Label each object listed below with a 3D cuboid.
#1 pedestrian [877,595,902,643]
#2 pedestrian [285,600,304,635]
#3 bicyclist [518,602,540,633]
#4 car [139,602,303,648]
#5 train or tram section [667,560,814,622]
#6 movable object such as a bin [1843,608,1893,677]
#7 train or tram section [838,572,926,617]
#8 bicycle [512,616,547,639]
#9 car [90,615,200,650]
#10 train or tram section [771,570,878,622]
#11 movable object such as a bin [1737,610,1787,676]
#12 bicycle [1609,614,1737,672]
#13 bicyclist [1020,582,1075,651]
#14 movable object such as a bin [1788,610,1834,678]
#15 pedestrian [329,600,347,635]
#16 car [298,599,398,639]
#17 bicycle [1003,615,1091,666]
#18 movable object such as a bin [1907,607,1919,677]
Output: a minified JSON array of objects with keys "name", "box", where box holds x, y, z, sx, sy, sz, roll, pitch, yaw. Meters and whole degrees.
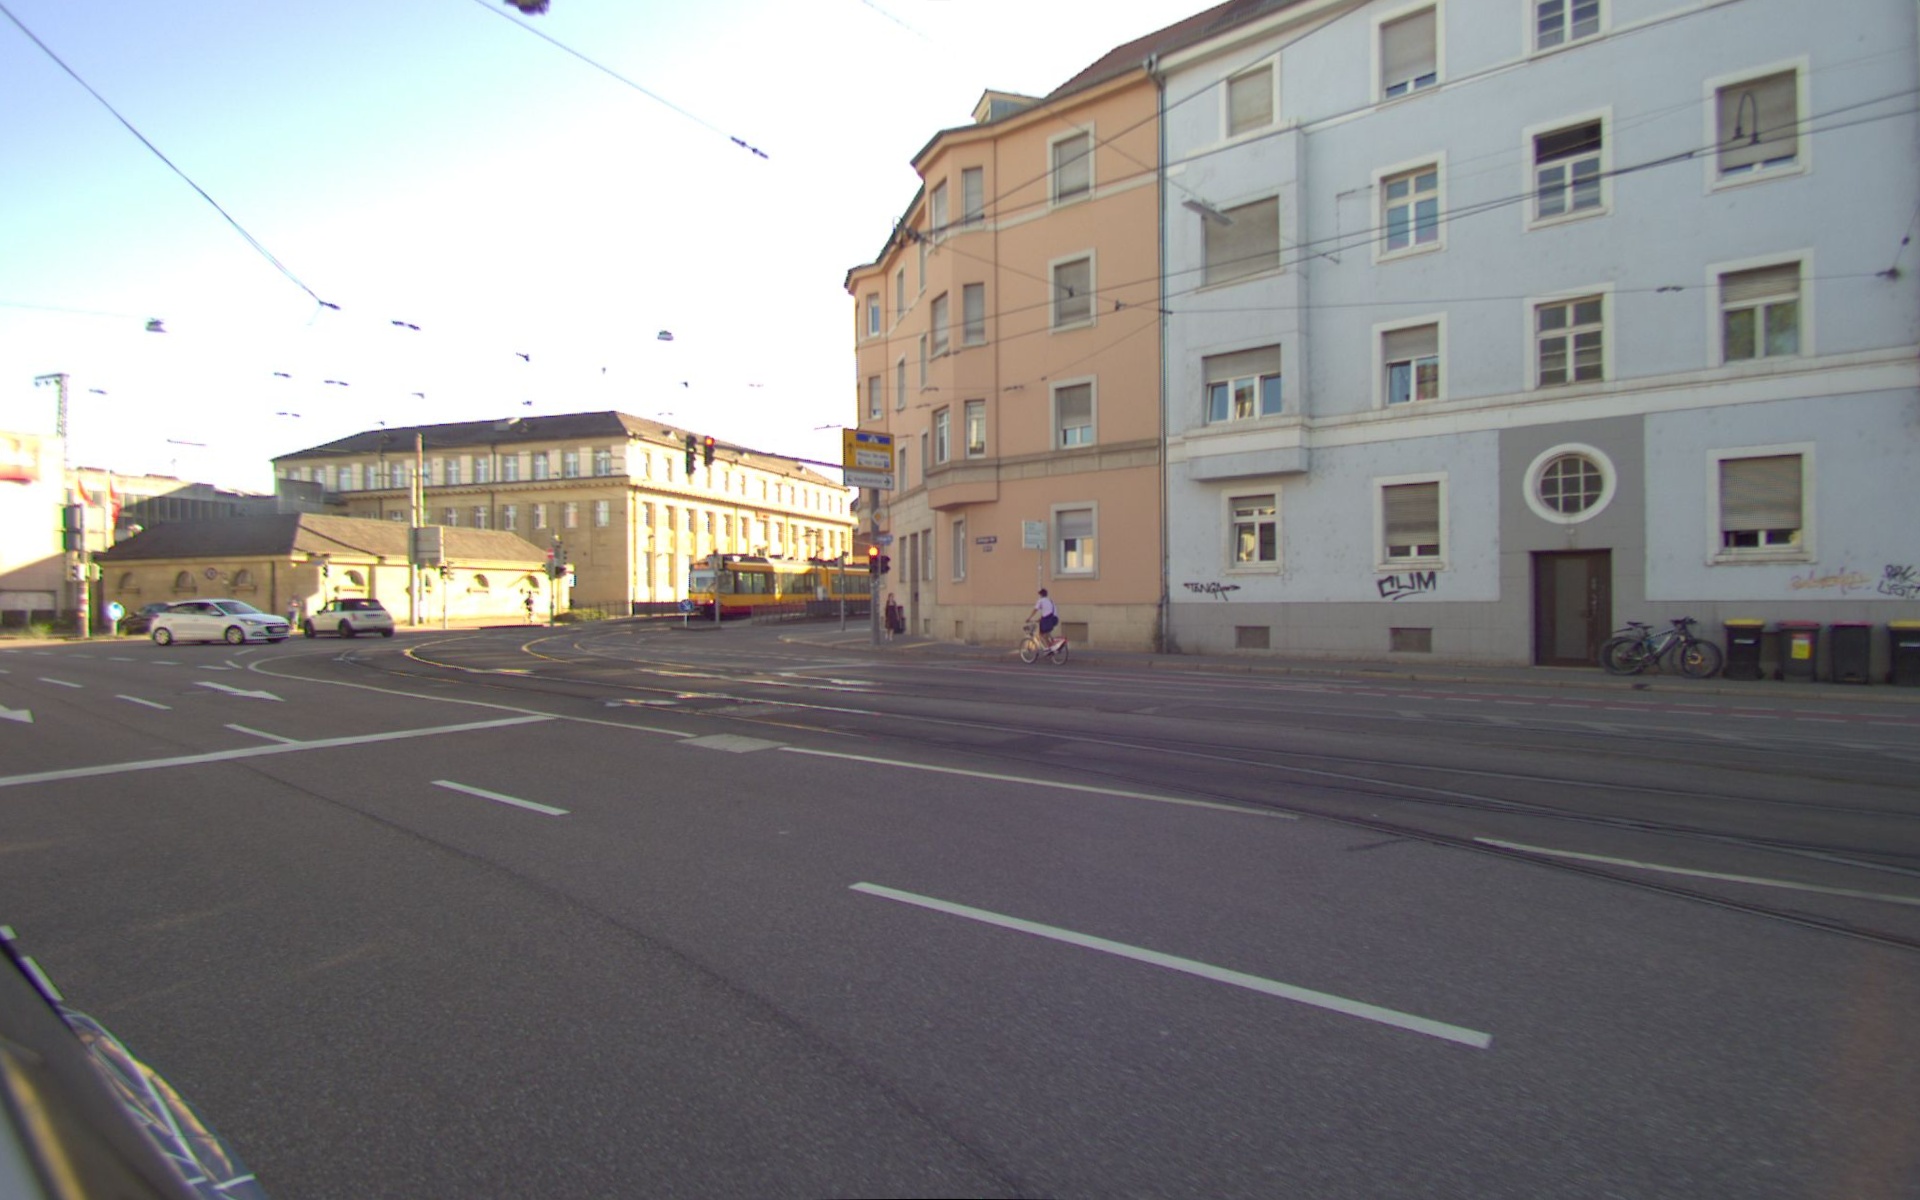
[{"name":"pedestrian","box":[-2.329,0.622,33.334,0.666,1.575,0.722,0,0,-15]},{"name":"pedestrian","box":[-31.916,0.839,48.551,0.615,1.652,0.516,0,-1,-8]},{"name":"bicyclist","box":[-23.250,0.958,54.570,0.671,1.652,0.936,-1,0,13]},{"name":"car","box":[-23.677,0.788,32.498,4.051,1.404,1.791,-1,0,3]},{"name":"train or tram section","box":[-12.847,-0.497,60.990,3.142,3.346,11.746,-1,0,18]},{"name":"movable object such as a bin","box":[15.079,0.688,16.822,0.582,1.114,0.695,-1,0,40]},{"name":"train or tram section","box":[-6.093,-0.481,81.690,3.140,3.381,10.784,-1,1,18]},{"name":"bicycle","box":[-23.230,1.471,54.651,0.679,1.144,2.065,-1,1,13]},{"name":"car","box":[-35.582,1.402,44.185,4.469,1.466,1.913,-1,0,23]},{"name":"train or tram section","box":[-9.330,-0.321,71.572,3.140,3.381,10.616,-1,1,18]},{"name":"movable object such as a bin","box":[14.029,0.740,17.700,0.648,1.114,0.695,-1,0,40]},{"name":"bicycle","box":[13.092,0.768,18.616,1.875,0.987,0.599,0,1,40]},{"name":"bicyclist","box":[2.154,0.406,24.997,1.125,1.655,0.739,-1,-1,41]},{"name":"movable object such as a bin","box":[14.520,0.736,17.270,0.582,1.114,0.695,-1,0,40]},{"name":"pedestrian","box":[-29.664,0.844,48.262,0.615,1.652,0.490,0,-1,-8]},{"name":"car","box":[-22.153,0.693,36.591,3.522,1.385,1.713,-1,-1,32]},{"name":"bicycle","box":[2.136,0.971,25.020,2.151,1.200,0.739,-1,-1,41]},{"name":"movable object such as a bin","box":[15.674,0.670,16.291,0.582,1.114,0.695,-1,0,40]}]
